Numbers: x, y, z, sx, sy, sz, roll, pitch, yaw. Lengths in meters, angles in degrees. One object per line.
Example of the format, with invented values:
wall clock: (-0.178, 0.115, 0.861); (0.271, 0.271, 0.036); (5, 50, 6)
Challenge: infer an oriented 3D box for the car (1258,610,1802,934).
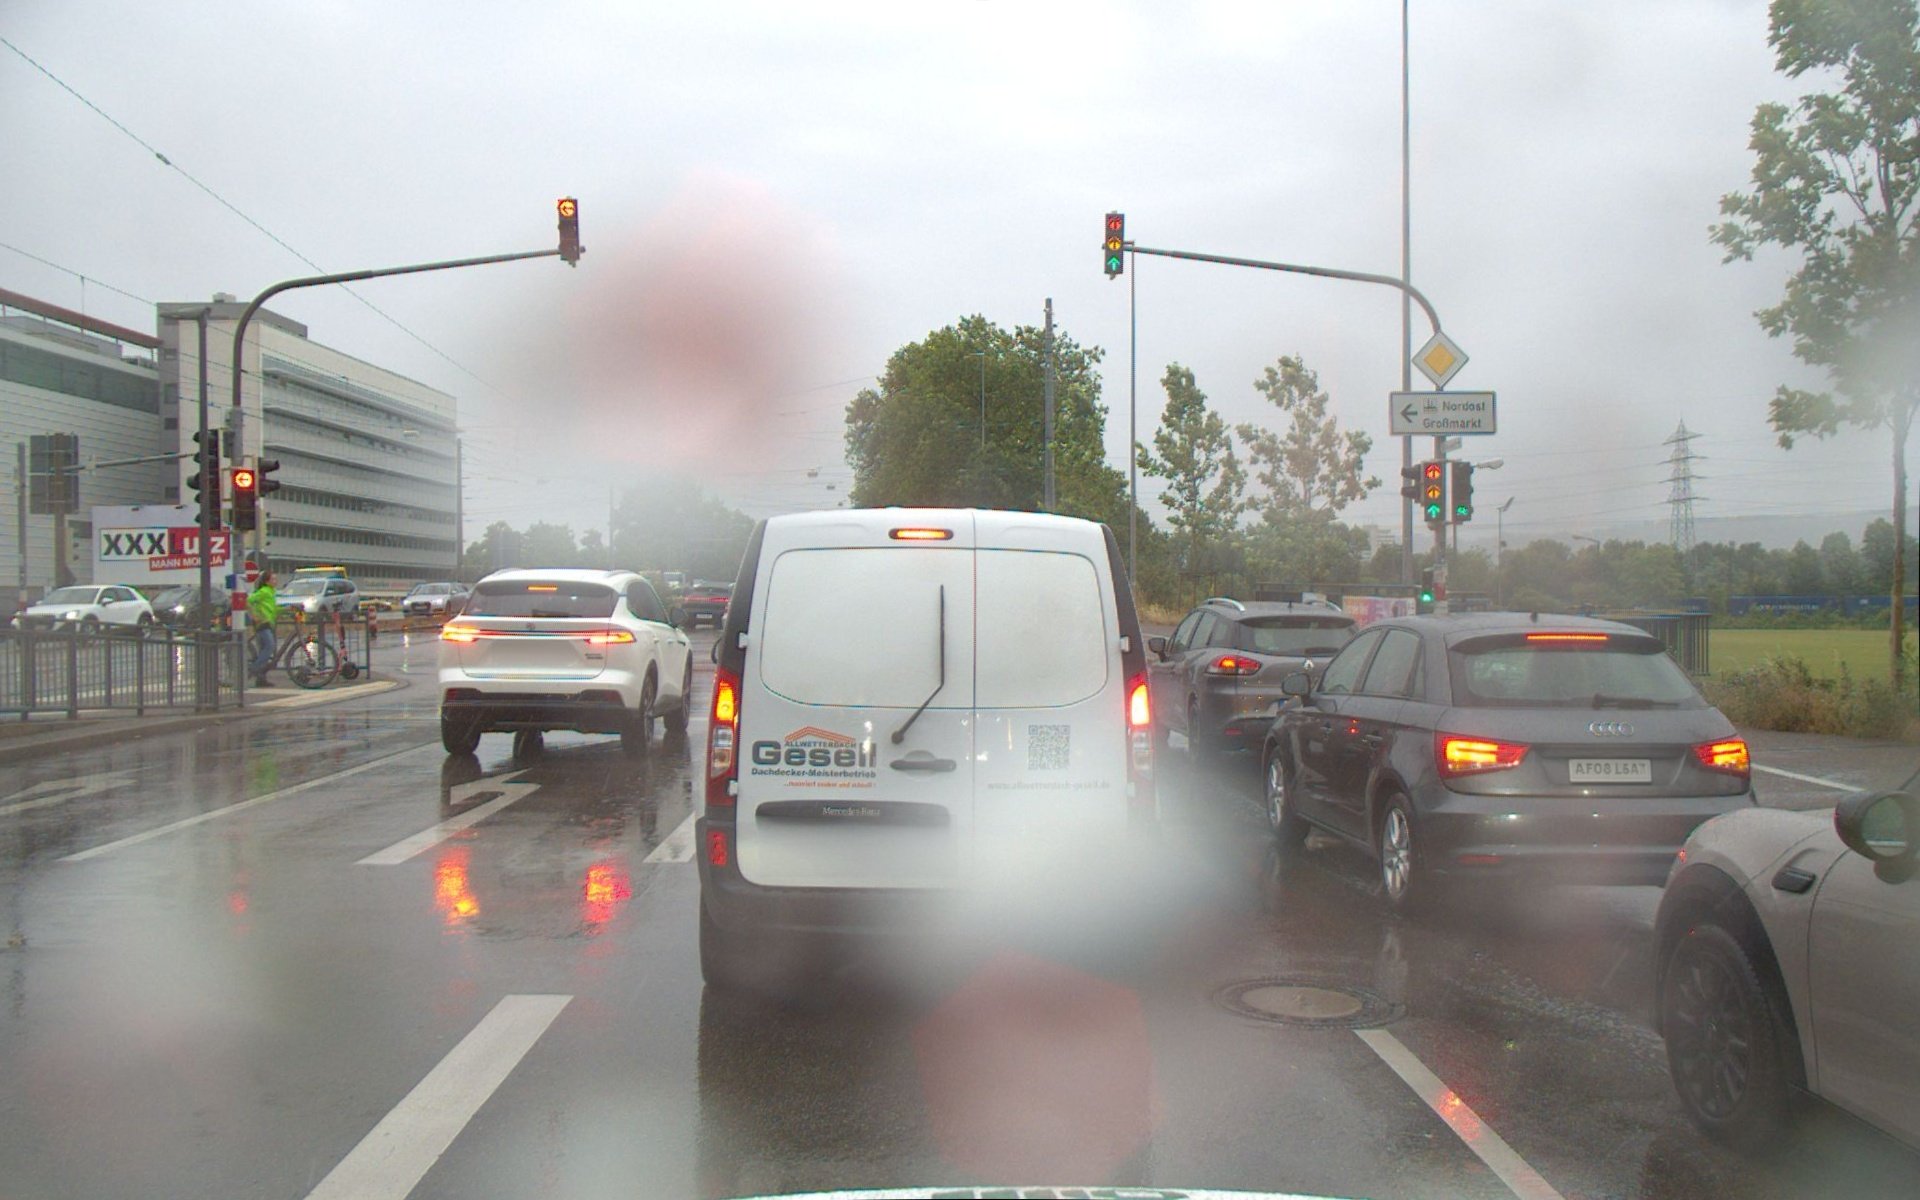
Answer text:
car: (2.796, 0.757, 8.963); (1.596, 1.368, 3.622); (1, 0, -2)

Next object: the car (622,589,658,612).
car: (-22.558, 0.031, 116.571); (1.727, 1.577, 3.680); (1, 0, 1)

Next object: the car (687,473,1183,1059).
car: (-0.102, 0.523, 7.160); (1.534, 1.819, 3.999); (0, 0, -1)

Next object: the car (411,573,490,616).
car: (-21.249, -0.217, 69.172); (1.853, 1.729, 4.001); (1, 0, 3)

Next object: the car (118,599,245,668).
car: (-25.317, 1.065, 53.934); (1.953, 1.936, 4.001); (6, 1, 2)

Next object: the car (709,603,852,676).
car: (-4.404, 0.952, 41.191); (1.583, 1.689, 4.075); (1, 0, 26)

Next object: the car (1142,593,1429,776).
car: (2.892, 0.692, 15.525); (1.822, 1.453, 3.806); (1, 1, -2)

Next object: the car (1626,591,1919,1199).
car: (2.925, 0.764, 3.241); (1.679, 1.534, 3.622); (1, 0, -2)

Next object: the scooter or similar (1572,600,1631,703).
scooter or similar: (7.596, 0.594, 19.609); (0.240, 1.178, 1.186); (1, 0, 1)

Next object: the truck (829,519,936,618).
truck: (-2.310, -0.897, 51.690); (2.577, 2.865, 7.148); (1, 0, 3)

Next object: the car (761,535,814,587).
car: (-7.563, -1.701, 72.748); (1.956, 1.891, 3.996); (-7, 0, -4)

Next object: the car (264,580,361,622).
car: (-21.872, 0.055, 55.985); (1.554, 1.359, 3.832); (1, -1, 4)

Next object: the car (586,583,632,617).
car: (-21.894, -0.001, 103.352); (1.952, 2.049, 4.000); (1, 0, 1)

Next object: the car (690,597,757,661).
car: (-7.315, 0.880, 51.489); (1.956, 1.892, 3.994); (1, 0, -7)

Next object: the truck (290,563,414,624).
truck: (-25.043, -0.236, 68.509); (2.303, 2.319, 7.632); (1, 0, 0)

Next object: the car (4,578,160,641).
car: (-22.309, 0.239, 42.200); (1.662, 1.518, 3.878); (1, 0, 5)

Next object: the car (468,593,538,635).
car: (-21.126, 0.642, 76.634); (1.889, 1.859, 4.002); (1, 0, 4)

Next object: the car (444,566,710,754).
car: (-3.560, 0.482, 16.115); (1.694, 1.562, 4.296); (1, 1, -2)

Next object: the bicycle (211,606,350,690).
bicycle: (-9.590, 0.675, 23.367); (1.716, 1.052, 0.414); (4, -1, -3)
